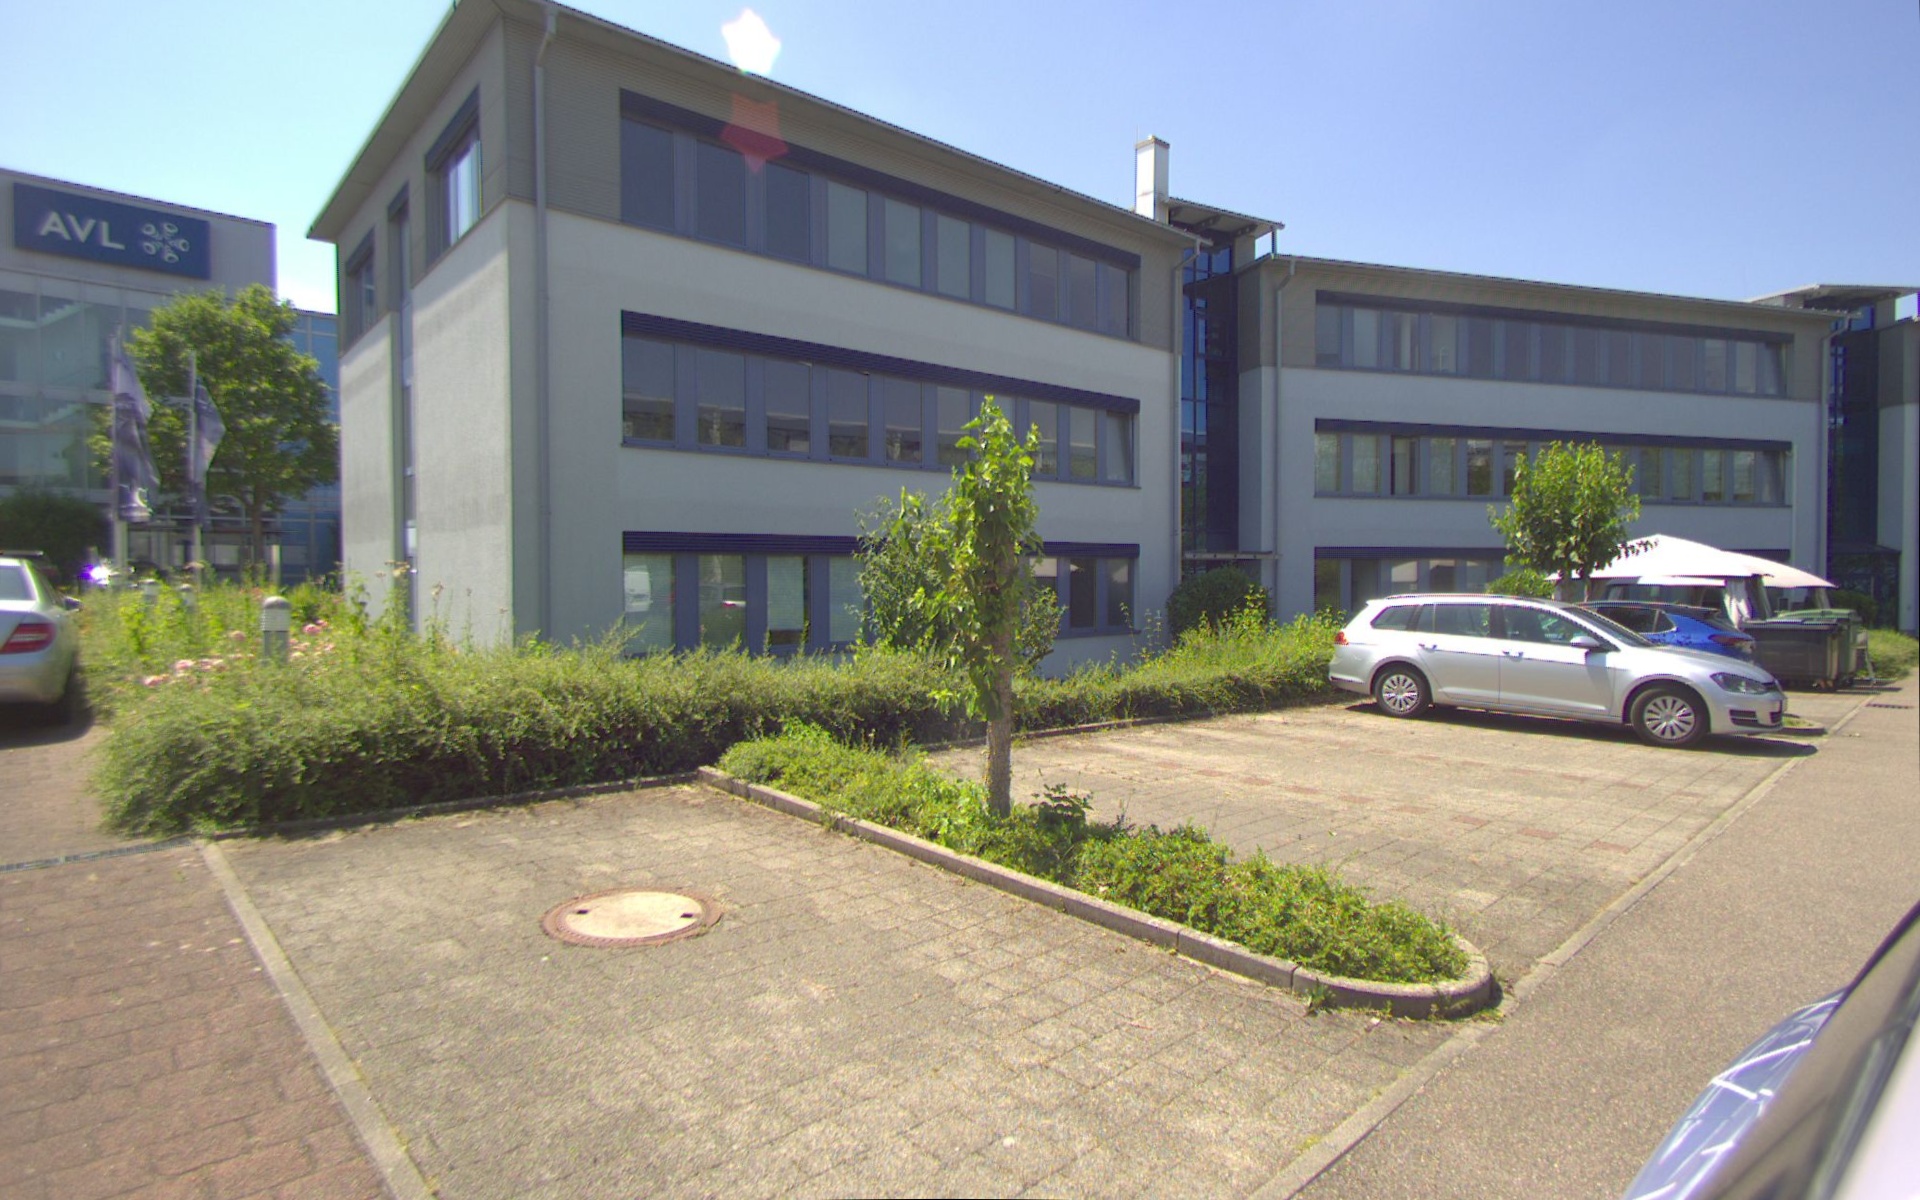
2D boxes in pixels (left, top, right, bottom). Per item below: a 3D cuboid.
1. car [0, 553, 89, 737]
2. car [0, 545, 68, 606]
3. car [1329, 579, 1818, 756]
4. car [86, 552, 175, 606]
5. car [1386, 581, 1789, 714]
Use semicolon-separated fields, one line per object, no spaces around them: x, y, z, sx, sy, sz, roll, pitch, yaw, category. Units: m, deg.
-9.113;0.299;9.189;1.773;1.415;4.414;-1;2;-40;car
-27.255;-0.740;29.292;1.902;1.630;3.976;1;2;-45;car
6.727;0.582;11.484;1.826;1.538;4.417;0;2;-44;car
-25.622;-0.679;31.214;1.747;1.500;4.247;-1;3;-45;car
8.805;0.545;14.527;1.826;1.512;4.602;0;2;-44;car
